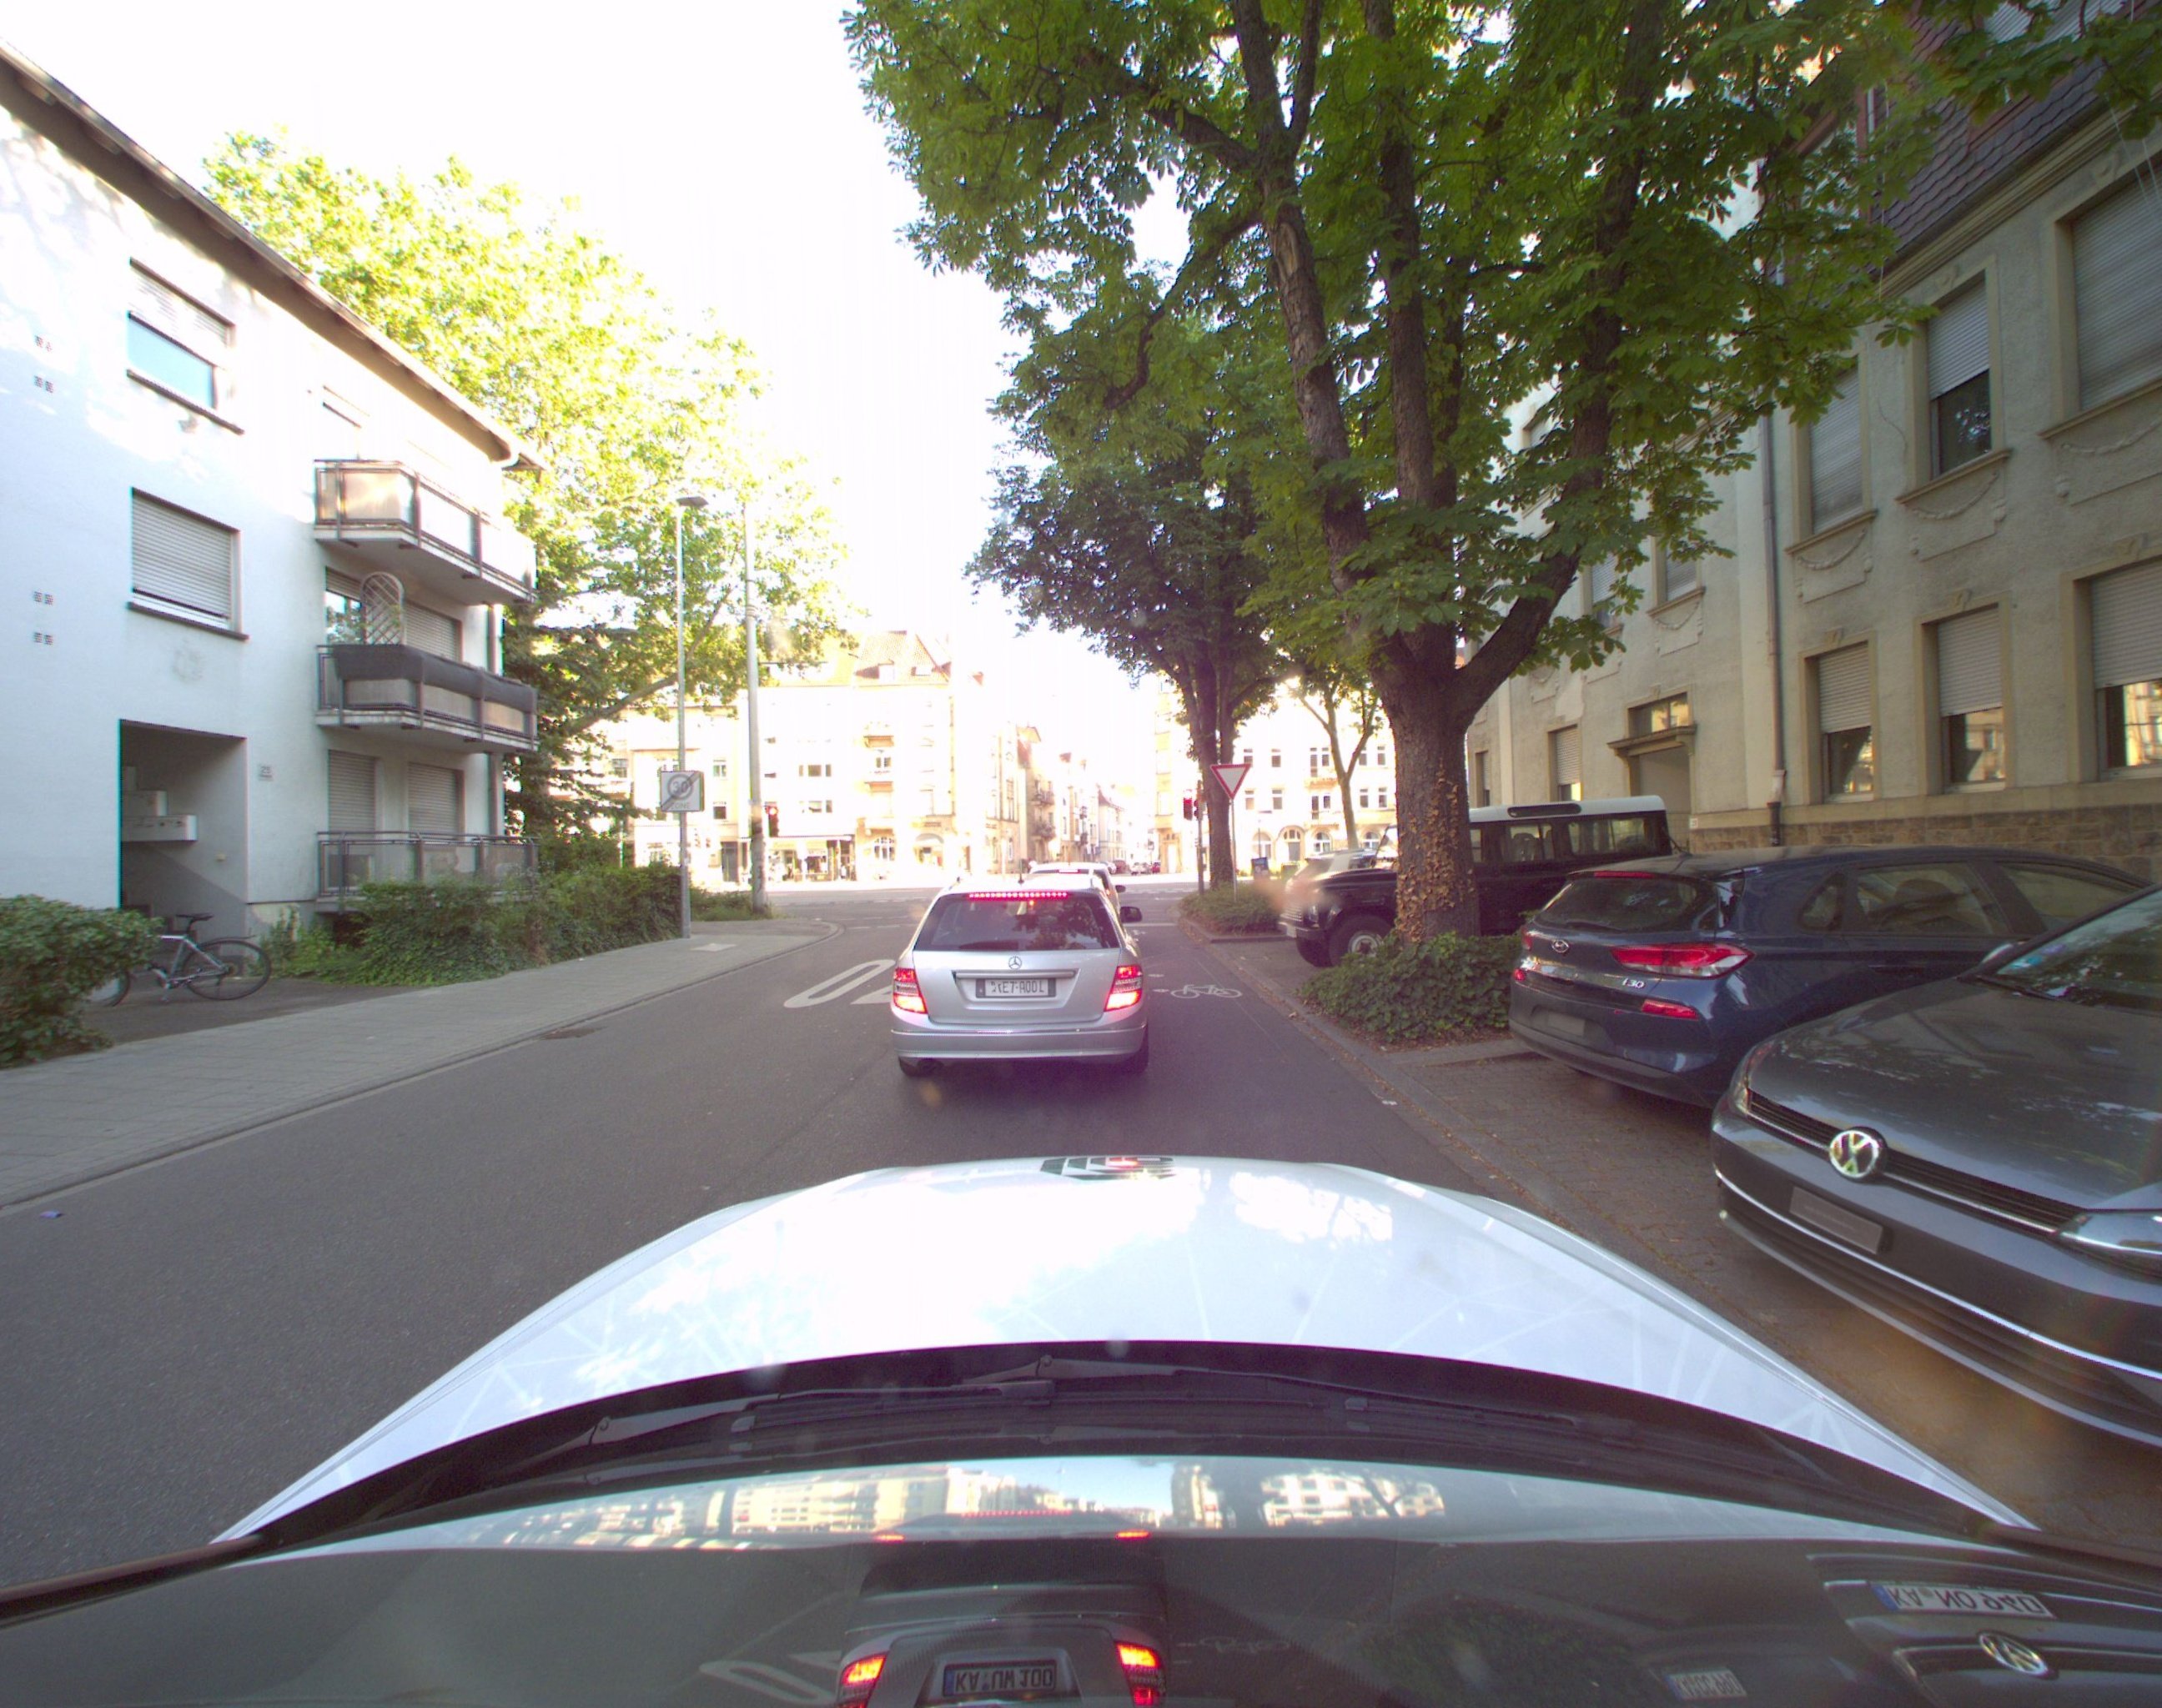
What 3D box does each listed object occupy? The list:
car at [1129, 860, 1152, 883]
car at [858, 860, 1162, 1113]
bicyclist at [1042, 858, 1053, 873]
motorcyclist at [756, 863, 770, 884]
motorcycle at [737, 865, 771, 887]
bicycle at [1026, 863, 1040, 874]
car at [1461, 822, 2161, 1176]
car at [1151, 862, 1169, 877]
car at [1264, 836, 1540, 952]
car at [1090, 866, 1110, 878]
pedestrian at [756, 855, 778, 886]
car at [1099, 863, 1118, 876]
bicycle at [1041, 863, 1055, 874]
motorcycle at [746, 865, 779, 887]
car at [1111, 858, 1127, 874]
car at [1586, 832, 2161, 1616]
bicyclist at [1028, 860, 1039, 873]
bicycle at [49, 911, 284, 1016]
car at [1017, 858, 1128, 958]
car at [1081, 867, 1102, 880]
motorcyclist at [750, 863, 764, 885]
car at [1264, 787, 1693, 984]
[{"bbox_3d":[6.296,1.808,85.890,2.018,2.279,4.012,-1,0,10],"label":"car"},{"bbox_3d":[-0.408,0.791,7.071,1.771,1.452,4.547,-1,0,0],"label":"car"},{"bbox_3d":[-3.015,1.022,73.693,0.765,1.290,0.755,-1,0,13],"label":"bicyclist"},{"bbox_3d":[-22.250,1.368,56.957,0.679,1.452,0.568,-2,0,-2],"label":"motorcyclist"},{"bbox_3d":[-22.425,1.508,55.813,2.028,1.452,0.568,-2,0,-3],"label":"motorcycle"},{"bbox_3d":[-4.333,1.333,73.635,0.765,0.940,1.947,-1,0,13],"label":"bicycle"},{"bbox_3d":[4.391,0.626,4.544,3.714,1.452,1.707,-3,-1,-2],"label":"car"},{"bbox_3d":[9.866,1.898,101.847,1.824,1.744,4.012,-1,0,10],"label":"car"},{"bbox_3d":[5.024,0.609,13.078,3.714,1.570,1.707,-3,-1,-2],"label":"car"},{"bbox_3d":[2.386,2.248,102.622,1.824,1.402,4.012,-1,0,10],"label":"car"},{"bbox_3d":[-25.445,1.306,66.063,1.343,2.464,1.059,-1,0,-3],"label":"pedestrian"},{"bbox_3d":[3.697,2.060,108.829,1.824,1.663,4.012,-1,0,10],"label":"car"},{"bbox_3d":[-3.011,1.316,73.691,0.765,0.934,1.947,-1,0,13],"label":"bicycle"},{"bbox_3d":[-22.238,1.542,56.957,2.028,1.452,0.568,-2,0,-3],"label":"motorcycle"},{"bbox_3d":[5.470,1.711,117.388,1.776,2.204,4.012,-1,0,10],"label":"car"},{"bbox_3d":[4.027,0.642,2.372,4.042,1.452,1.722,-3,-1,-2],"label":"car"},{"bbox_3d":[-4.316,1.111,73.714,0.765,1.156,0.755,-1,0,13],"label":"bicyclist"},{"bbox_3d":[-10.000,1.161,8.995,1.630,1.008,0.511,2,-2,-39],"label":"bicycle"},{"bbox_3d":[-0.114,0.807,14.160,1.614,1.447,4.344,-1,0,0],"label":"car"},{"bbox_3d":[1.316,2.296,97.152,1.824,1.402,4.012,-1,0,10],"label":"car"},{"bbox_3d":[-22.206,1.356,55.818,0.679,1.452,0.568,-2,0,-2],"label":"motorcyclist"},{"bbox_3d":[4.735,0.359,10.118,4.453,2.036,1.700,-3,-1,-2],"label":"car"}]
